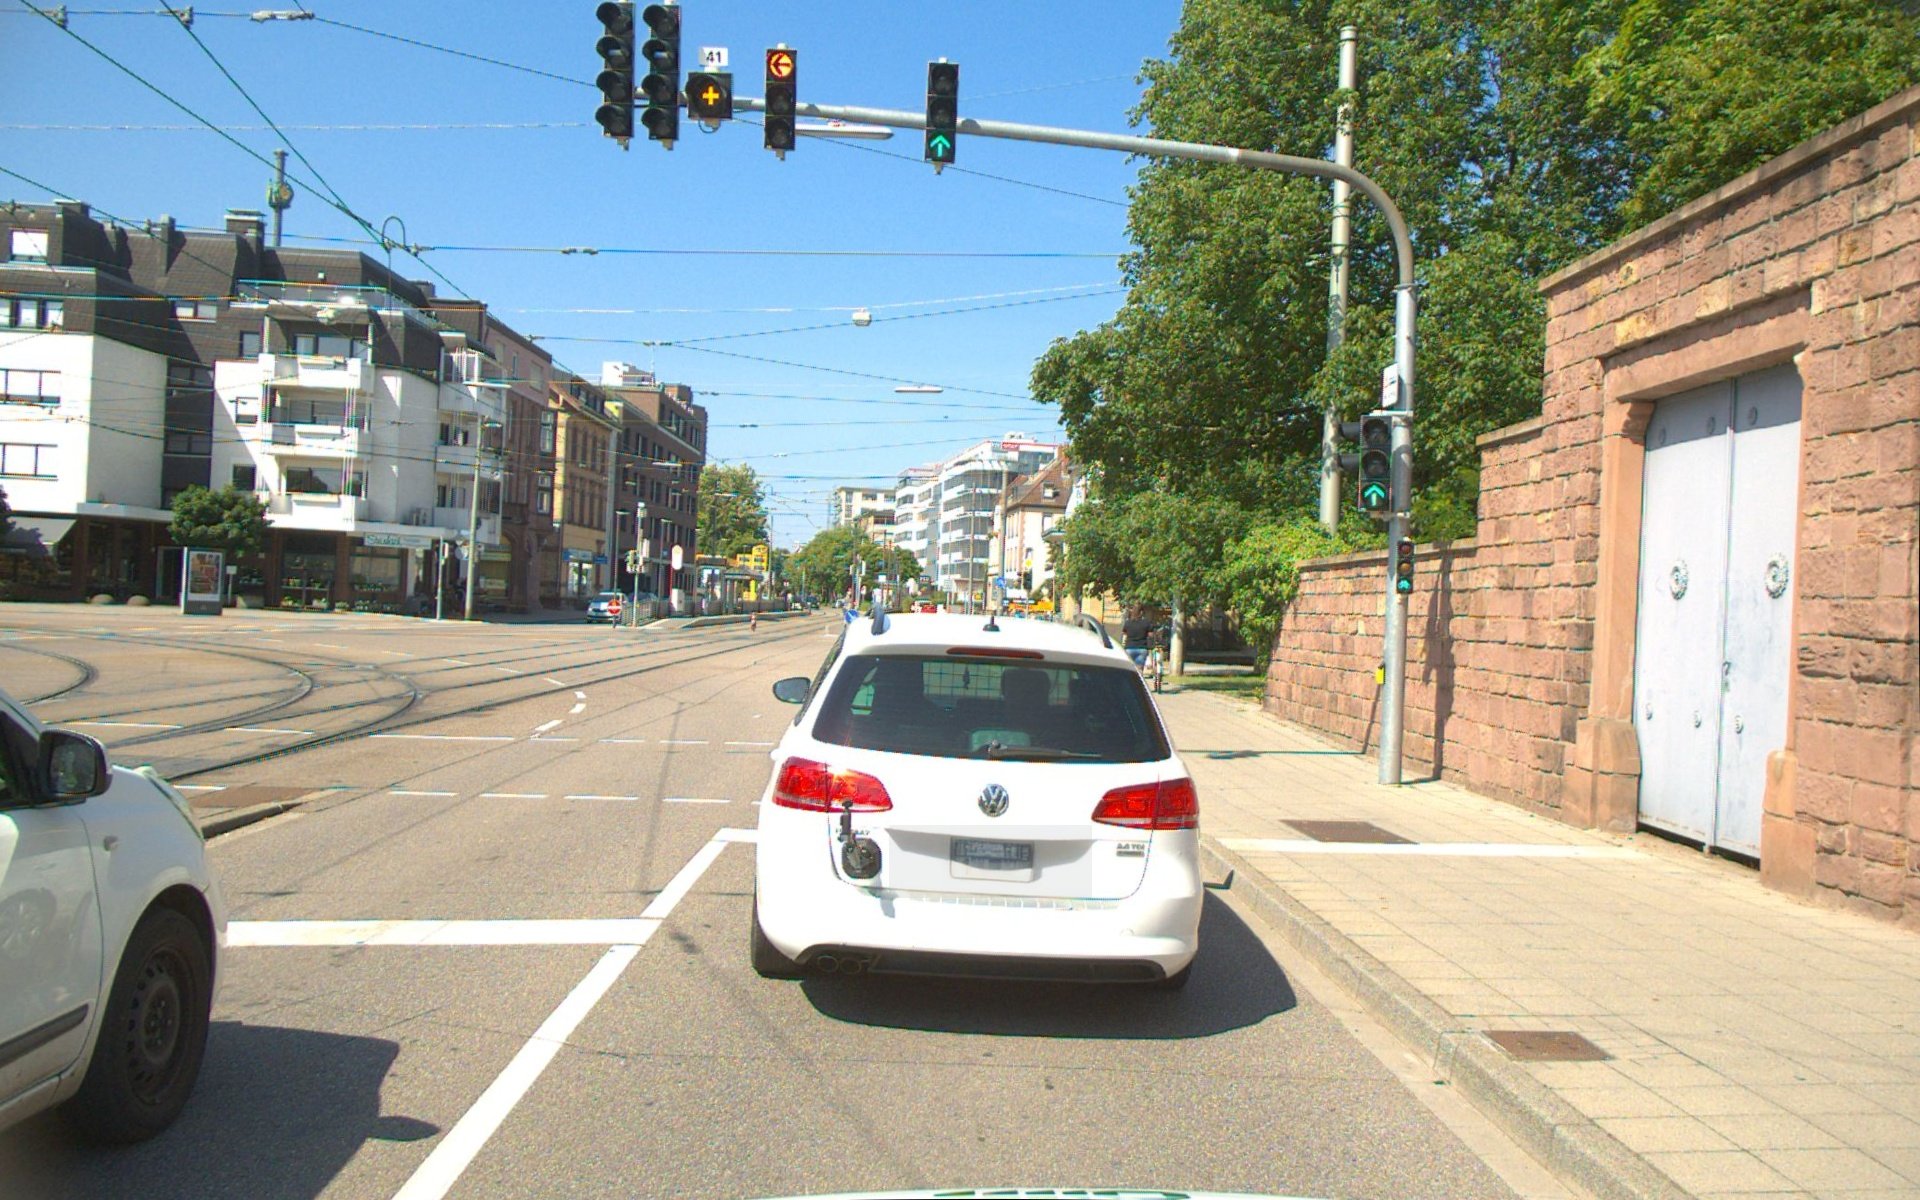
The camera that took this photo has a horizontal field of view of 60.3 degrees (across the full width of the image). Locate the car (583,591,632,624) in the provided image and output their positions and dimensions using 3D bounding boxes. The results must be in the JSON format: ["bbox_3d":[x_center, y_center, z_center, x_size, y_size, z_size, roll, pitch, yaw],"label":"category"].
[{"bbox_3d":[-16.991,0.346,79.905,1.593,1.456,3.960,3,-1,-3],"label":"car"}]

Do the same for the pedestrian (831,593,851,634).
[{"bbox_3d":[-5.498,0.608,76.437,0.810,1.841,0.833,2,-1,-1],"label":"pedestrian"}]

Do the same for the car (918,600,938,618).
[{"bbox_3d":[-3.764,1.062,192.141,1.955,2.049,3.995,2,0,-5],"label":"car"}]

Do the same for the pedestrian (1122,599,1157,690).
[{"bbox_3d":[3.146,0.780,29.018,0.529,1.576,0.663,0,0,-2],"label":"pedestrian"}]

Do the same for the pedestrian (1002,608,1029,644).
[{"bbox_3d":[2.446,1.163,72.827,0.842,1.536,0.778,2,-1,38],"label":"pedestrian"}]

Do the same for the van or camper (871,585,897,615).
[{"bbox_3d":[-8.688,0.003,188.940,2.885,3.235,6.609,2,0,-3],"label":"van or camper"}]

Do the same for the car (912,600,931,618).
[{"bbox_3d":[-4.622,1.062,197.535,1.955,2.049,3.995,2,0,-5],"label":"car"}]

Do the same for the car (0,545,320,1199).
[{"bbox_3d":[-2.892,0.662,3.221,1.730,1.588,4.066,1,0,-1],"label":"car"}]

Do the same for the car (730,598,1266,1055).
[{"bbox_3d":[0.105,0.754,7.369,1.717,1.442,3.852,2,0,-1],"label":"car"}]

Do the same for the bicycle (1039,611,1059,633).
[{"bbox_3d":[4.844,1.210,89.944,0.710,1.159,2.196,2,0,11],"label":"bicycle"}]

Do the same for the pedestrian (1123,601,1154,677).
[{"bbox_3d":[4.067,0.883,37.719,0.636,1.711,0.708,2,0,6],"label":"pedestrian"}]

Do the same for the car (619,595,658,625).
[{"bbox_3d":[-17.023,0.528,87.657,1.542,1.484,3.810,2,0,-4],"label":"car"}]

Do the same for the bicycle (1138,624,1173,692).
[{"bbox_3d":[3.424,0.995,28.881,0.524,1.131,1.808,1,-1,8],"label":"bicycle"}]

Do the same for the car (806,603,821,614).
[{"bbox_3d":[-19.971,1.164,225.556,1.634,1.492,3.772,2,0,-1],"label":"car"}]

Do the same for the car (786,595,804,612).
[{"bbox_3d":[-19.522,0.421,195.960,1.954,2.049,3.998,1,-1,-3],"label":"car"}]
